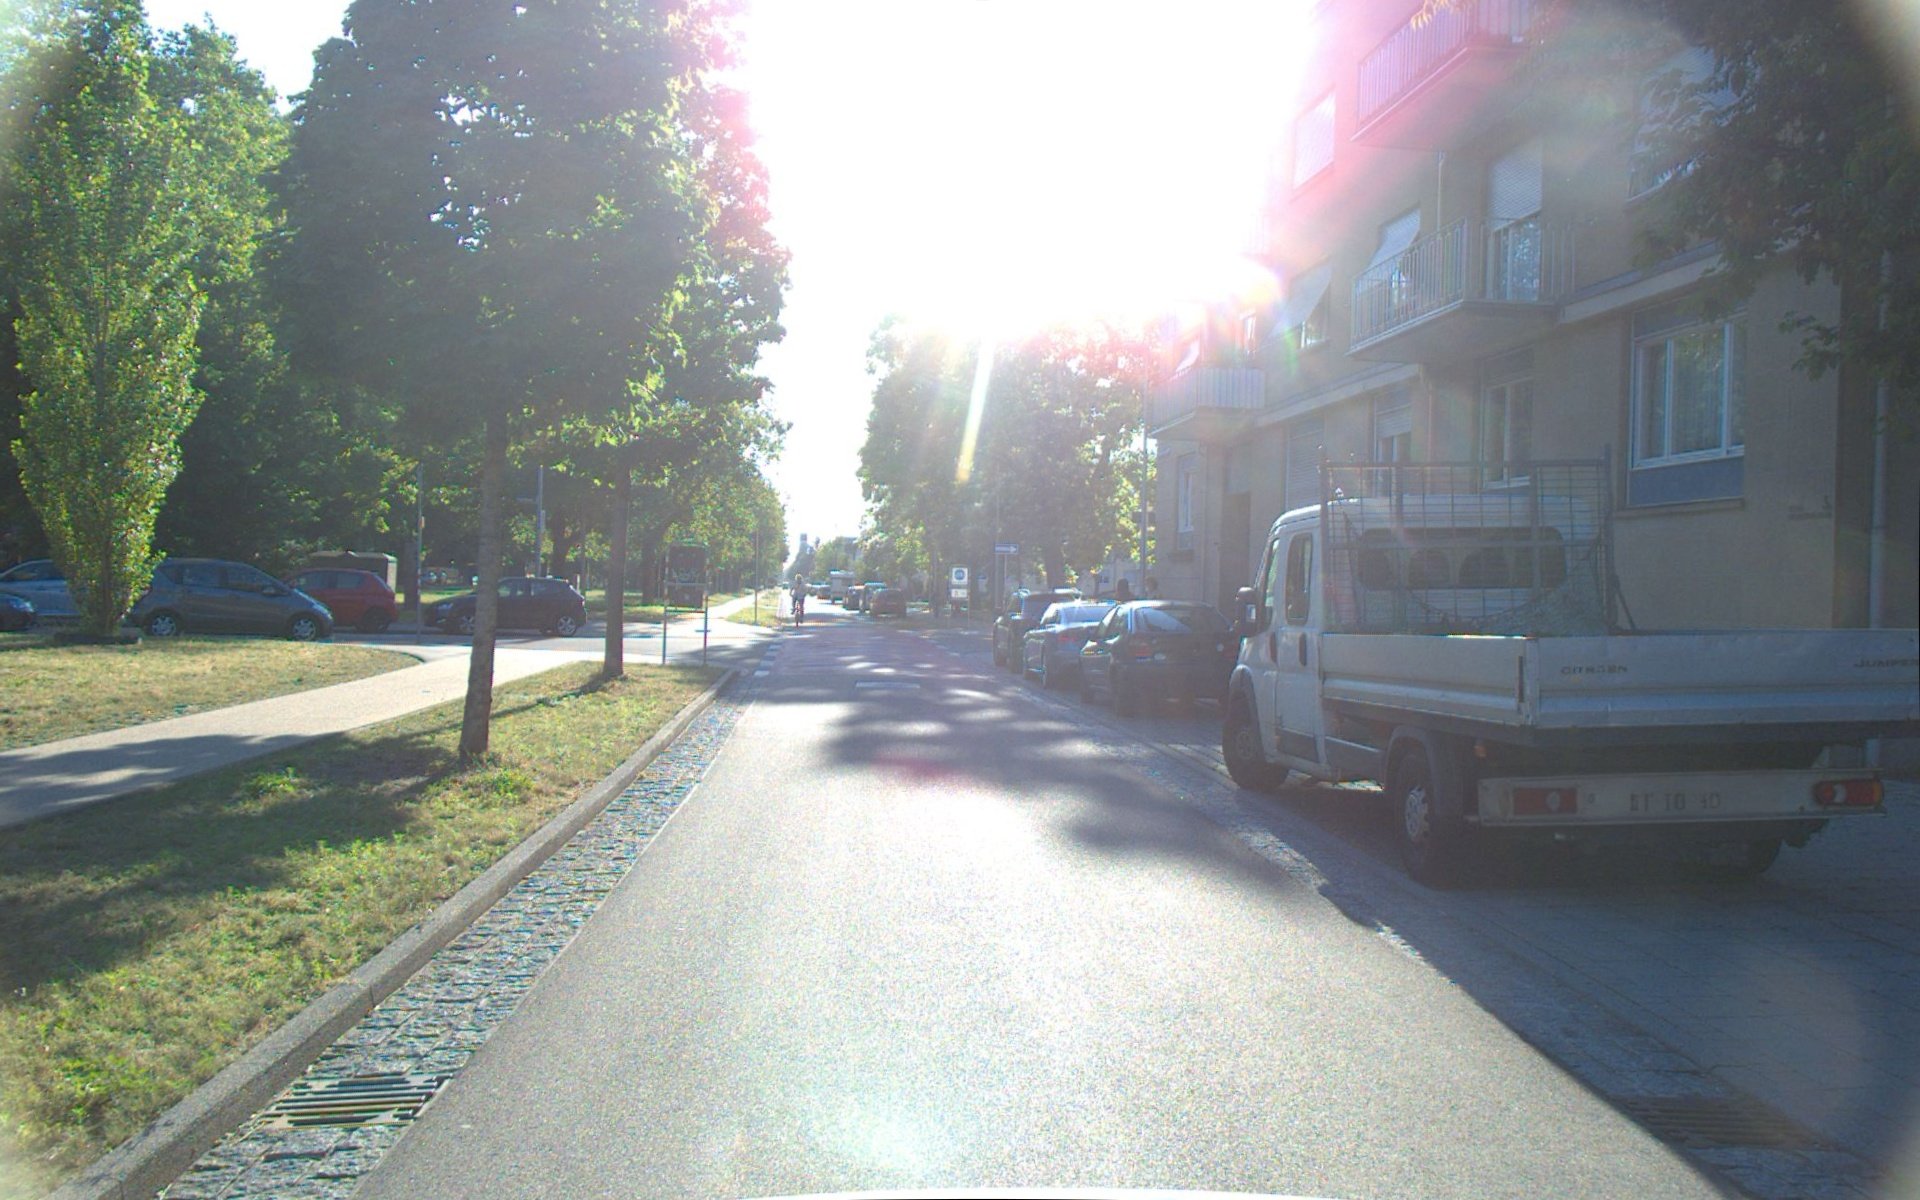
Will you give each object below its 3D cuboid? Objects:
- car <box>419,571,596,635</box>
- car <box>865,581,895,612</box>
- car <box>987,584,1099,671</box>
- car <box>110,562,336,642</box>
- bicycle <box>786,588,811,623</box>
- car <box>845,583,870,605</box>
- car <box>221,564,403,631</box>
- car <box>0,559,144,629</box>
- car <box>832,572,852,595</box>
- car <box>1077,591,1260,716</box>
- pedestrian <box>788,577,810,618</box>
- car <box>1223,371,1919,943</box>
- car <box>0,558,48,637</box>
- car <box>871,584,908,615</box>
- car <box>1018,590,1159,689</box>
[{"bbox_3d":[-11.320,0.080,41.404,3.947,1.445,1.753,2,0,-32],"label":"car"},{"bbox_3d":[-4.836,-0.246,99.625,1.758,1.754,3.997,2,0,-3],"label":"car"},{"bbox_3d":[1.584,0.486,32.799,1.658,1.592,4.100,1,1,-5],"label":"car"},{"bbox_3d":[-14.685,0.047,32.974,3.945,1.445,1.754,2,0,-31],"label":"car"},{"bbox_3d":[-5.797,0.176,59.480,0.674,1.223,2.343,2,0,-1],"label":"bicycle"},{"bbox_3d":[-7.514,-0.477,121.843,1.758,1.536,3.997,2,0,-3],"label":"car"},{"bbox_3d":[-15.384,-0.056,39.278,3.867,1.445,1.756,2,0,-28],"label":"car"},{"bbox_3d":[-20.327,-0.154,36.664,3.937,1.445,1.757,2,0,-26],"label":"car"},{"bbox_3d":[-10.797,-1.486,151.561,1.758,2.034,3.997,2,0,-3],"label":"car"},{"bbox_3d":[2.645,0.639,21.734,1.658,1.465,3.547,1,1,-5],"label":"car"},{"bbox_3d":[-5.786,-0.093,59.571,0.674,1.459,1.024,2,0,-1],"label":"pedestrian"},{"bbox_3d":[3.430,0.212,10.582,2.167,2.574,6.143,-1,1,-3],"label":"car"},{"bbox_3d":[-19.124,-0.097,30.521,3.942,1.445,1.755,2,0,-29],"label":"car"},{"bbox_3d":[-3.609,-0.051,85.532,1.757,1.536,3.999,2,0,-1],"label":"car"},{"bbox_3d":[2.036,0.590,27.225,1.658,1.465,4.100,1,1,-5],"label":"car"}]
